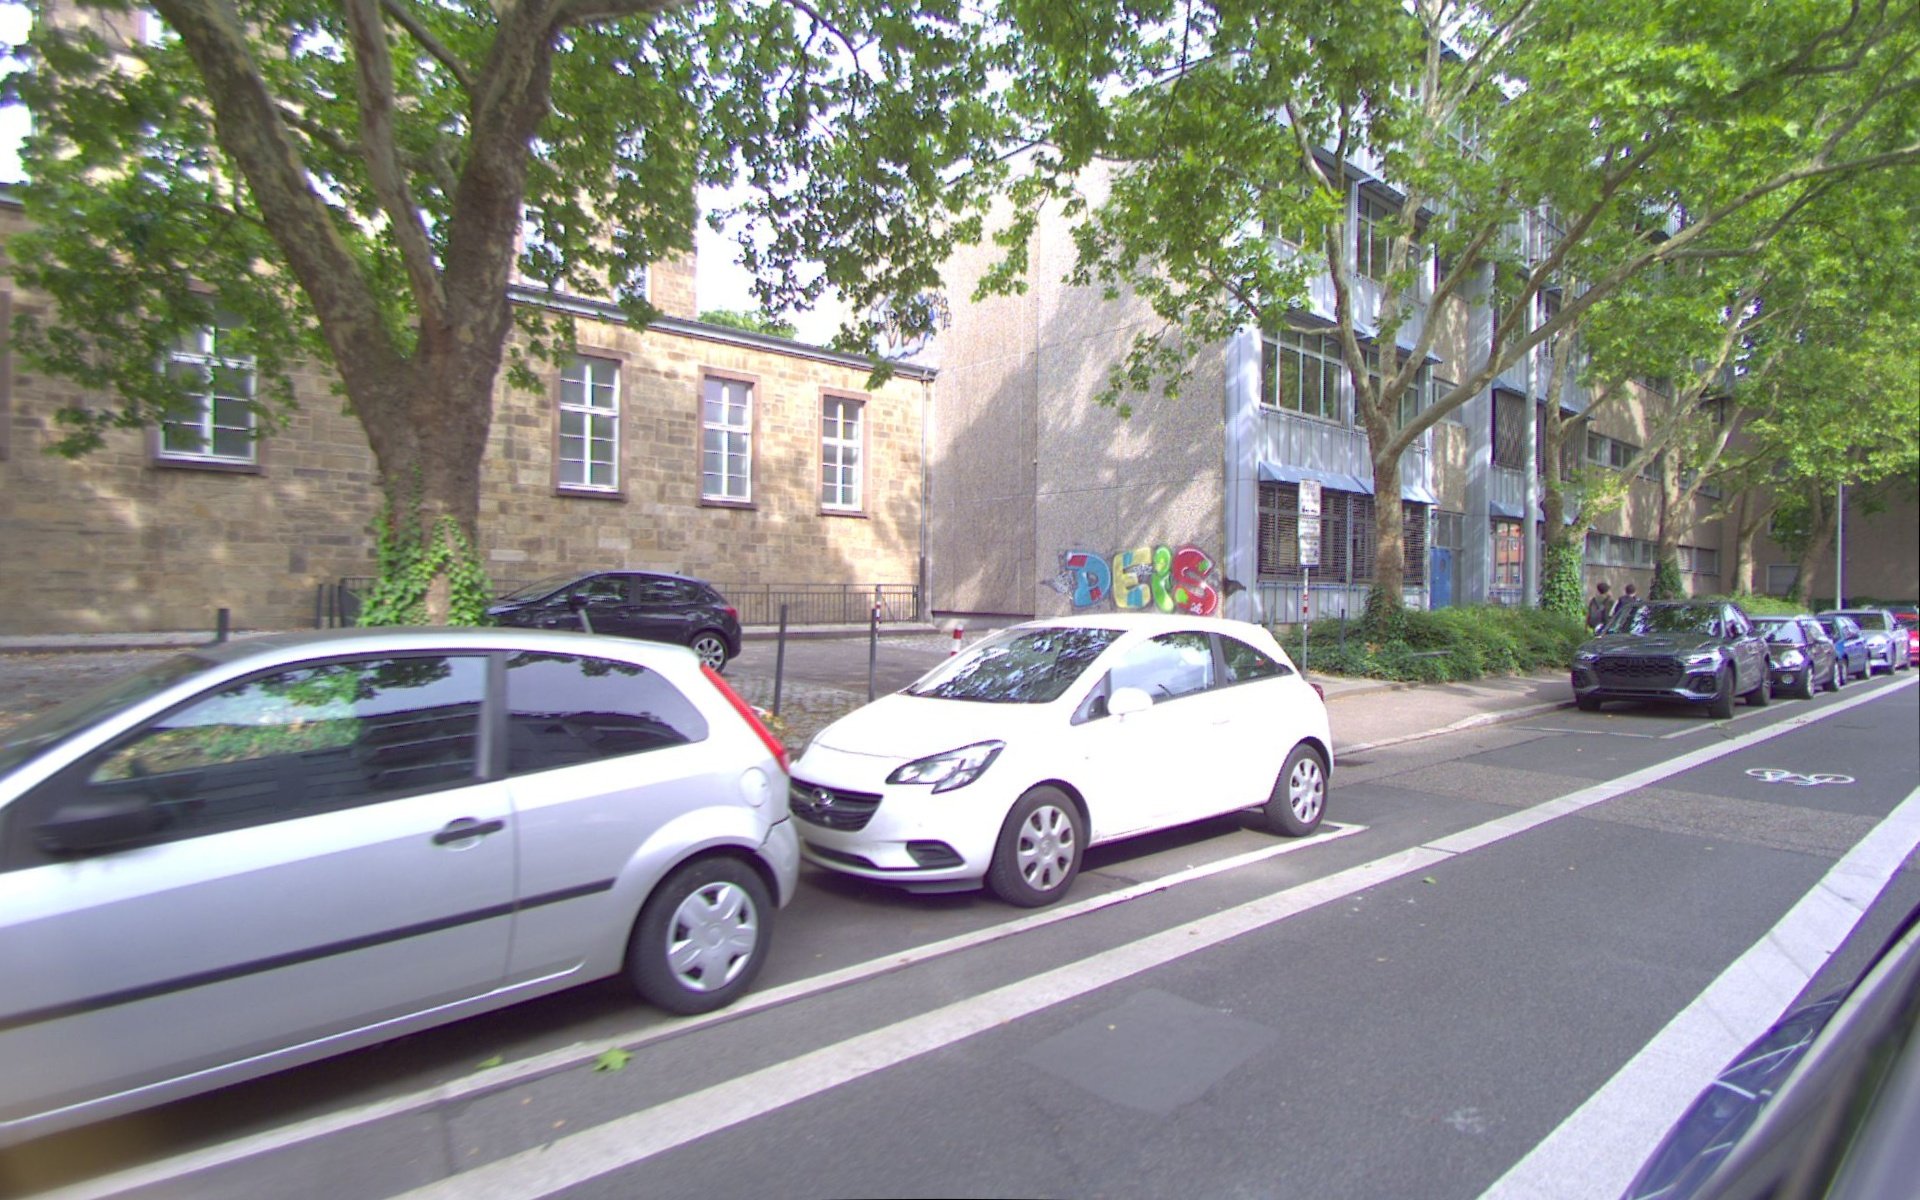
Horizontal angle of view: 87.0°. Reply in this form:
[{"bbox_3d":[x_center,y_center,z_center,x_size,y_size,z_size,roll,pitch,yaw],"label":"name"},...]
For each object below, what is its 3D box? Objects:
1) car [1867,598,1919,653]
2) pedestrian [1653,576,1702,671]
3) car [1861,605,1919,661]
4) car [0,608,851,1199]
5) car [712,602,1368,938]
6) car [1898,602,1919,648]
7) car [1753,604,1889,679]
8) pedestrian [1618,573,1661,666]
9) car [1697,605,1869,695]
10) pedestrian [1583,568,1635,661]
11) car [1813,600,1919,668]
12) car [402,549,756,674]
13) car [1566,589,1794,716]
[{"bbox_3d":[30.343,0.786,32.238,3.730,1.686,1.650,0,-1,-41],"label":"car"},{"bbox_3d":[14.189,0.455,20.017,0.468,1.806,0.592,0,4,-41],"label":"pedestrian"},{"bbox_3d":[26.576,0.877,28.221,4.032,1.465,1.601,0,-1,-41],"label":"car"},{"bbox_3d":[-2.371,0.773,3.441,1.643,1.466,3.820,-1,-1,45],"label":"car"},{"bbox_3d":[0.720,0.757,6.456,4.143,1.466,1.757,0,-1,-40],"label":"car"},{"bbox_3d":[33.852,0.834,35.002,3.886,1.545,1.601,0,-1,-41],"label":"car"},{"bbox_3d":[18.323,0.826,21.490,3.886,1.441,1.601,0,-1,-41],"label":"car"},{"bbox_3d":[13.700,0.383,20.407,0.518,1.806,0.502,0,4,-41],"label":"pedestrian"},{"bbox_3d":[15.084,0.822,18.470,4.493,1.451,1.642,0,-1,-41],"label":"car"},{"bbox_3d":[13.482,0.280,21.013,0.634,1.855,0.643,0,4,-41],"label":"pedestrian"},{"bbox_3d":[22.493,0.782,24.891,4.362,1.524,1.601,0,-1,-41],"label":"car"},{"bbox_3d":[-5.099,0.197,13.936,4.223,1.468,1.671,3,-1,-43],"label":"car"},{"bbox_3d":[10.976,0.691,15.310,4.404,1.642,1.923,0,-1,-43],"label":"car"}]
